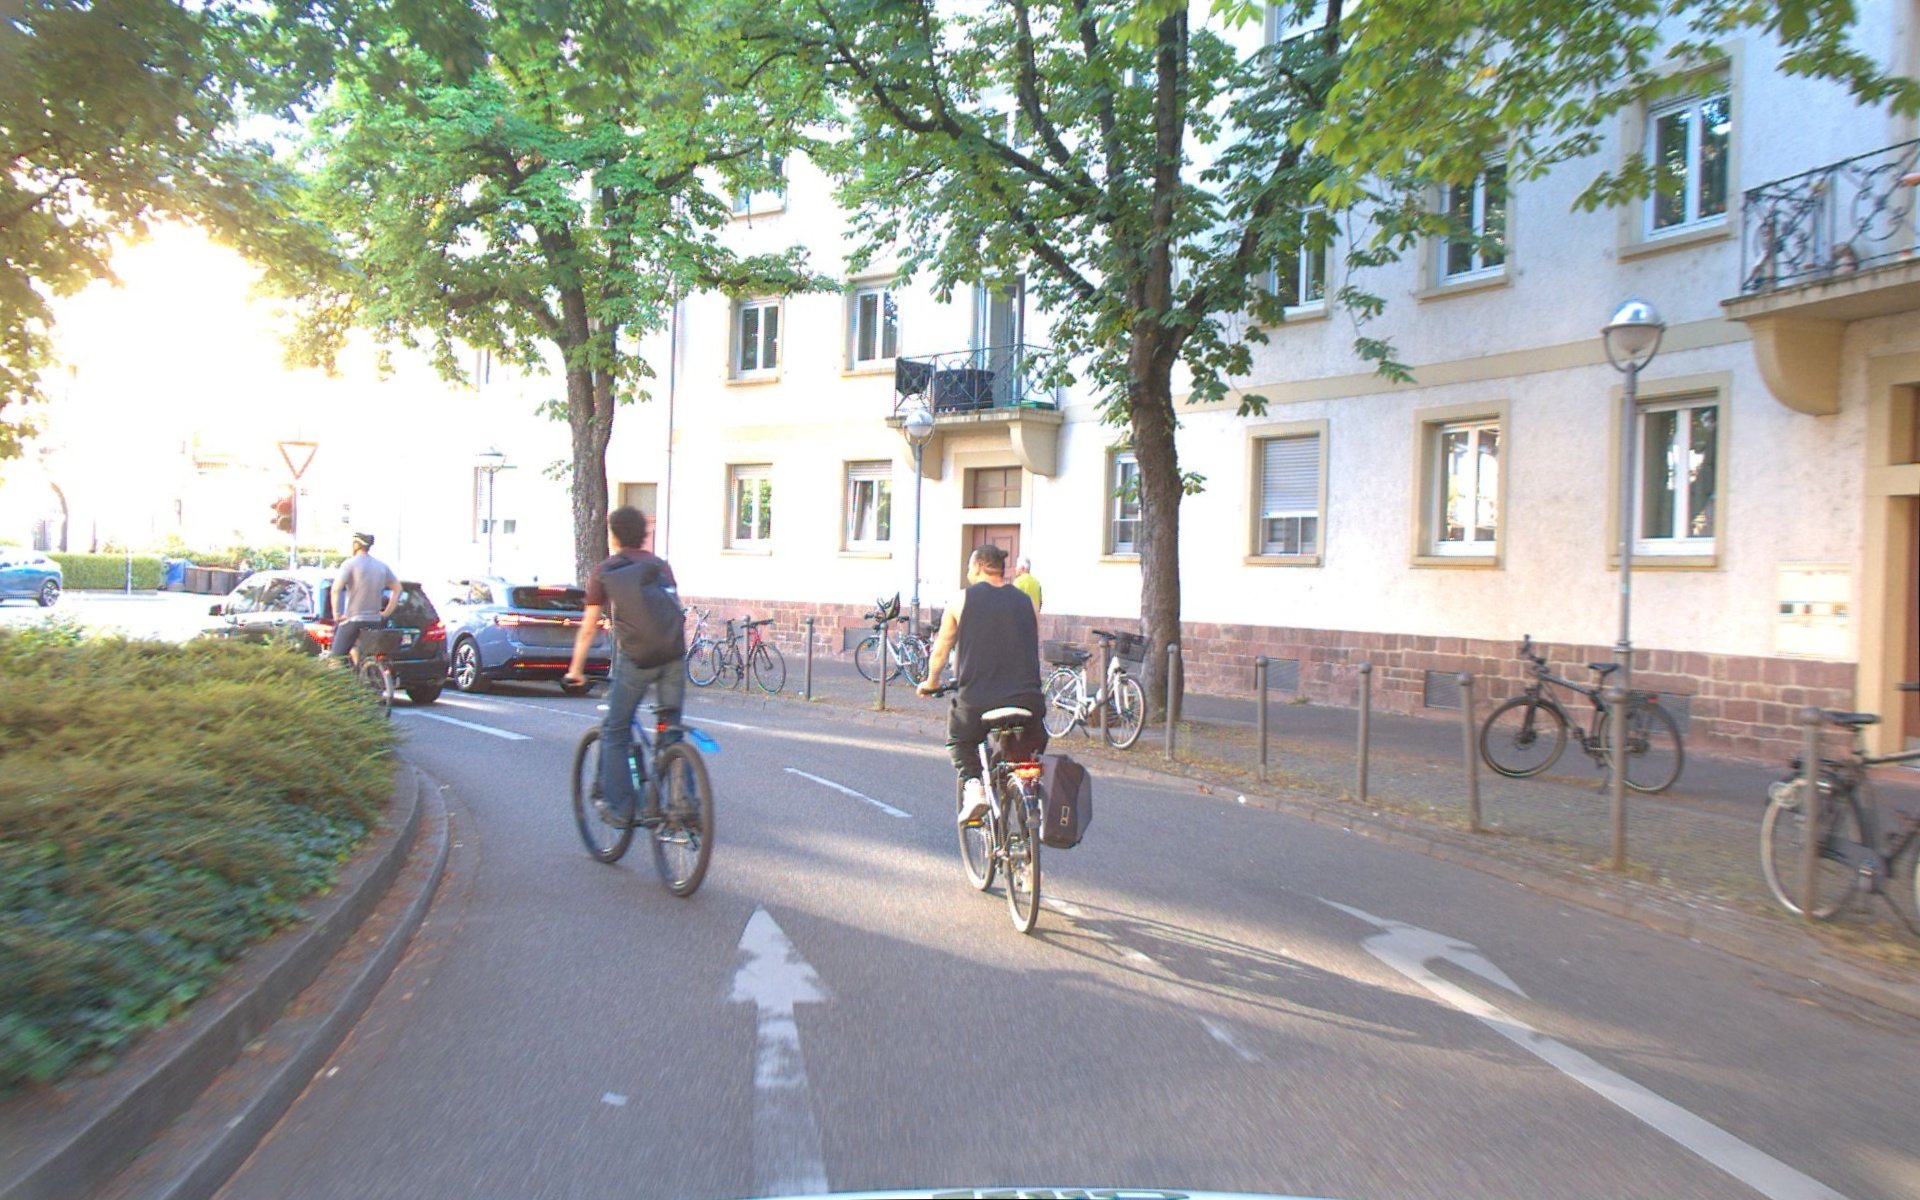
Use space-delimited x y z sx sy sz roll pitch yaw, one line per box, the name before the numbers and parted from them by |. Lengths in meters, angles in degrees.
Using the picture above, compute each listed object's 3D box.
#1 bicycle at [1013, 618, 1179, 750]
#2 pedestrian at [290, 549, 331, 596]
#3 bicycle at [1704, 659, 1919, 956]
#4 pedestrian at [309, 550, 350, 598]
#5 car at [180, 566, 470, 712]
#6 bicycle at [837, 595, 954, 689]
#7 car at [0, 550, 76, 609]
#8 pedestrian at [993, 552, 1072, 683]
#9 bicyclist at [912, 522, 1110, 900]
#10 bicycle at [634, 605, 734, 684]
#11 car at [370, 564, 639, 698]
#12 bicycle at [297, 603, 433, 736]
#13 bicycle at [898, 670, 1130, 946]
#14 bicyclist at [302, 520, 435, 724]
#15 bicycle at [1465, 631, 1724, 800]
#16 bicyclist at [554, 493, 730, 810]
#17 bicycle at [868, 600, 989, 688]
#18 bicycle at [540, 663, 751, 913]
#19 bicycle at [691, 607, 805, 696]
bicycle | 1.316 0.793 16.426 0.610 1.132 1.971 -2 3 -31
pedestrian | -28.202 -1.189 71.880 1.134 1.996 1.388 2 0 2
bicycle | 4.278 0.901 7.438 0.667 1.179 1.996 1 0 -11
pedestrian | -27.230 -1.127 71.488 1.134 1.996 1.388 2 0 2
car | -7.710 0.378 19.933 3.891 1.570 1.807 1 2 44
bicycle | -0.931 0.562 23.199 0.491 1.192 2.088 -3 3 -38
car | -27.066 -0.590 46.250 1.951 1.522 4.379 2 2 7
pedestrian | 1.039 0.231 23.559 0.647 1.826 0.993 2 1 38
bicyclist | 0.225 0.504 7.988 0.738 1.711 0.911 2 0 -10
bicycle | -3.946 0.608 23.513 0.515 1.016 2.165 2 1 -34
car | -6.294 0.367 22.638 1.883 1.605 3.936 2 1 -44
bicycle | -5.925 0.657 16.401 0.594 1.182 2.012 2 0 -40
bicycle | 0.195 0.924 8.058 0.724 1.029 2.056 0 1 -10
bicyclist | -5.861 0.195 16.371 0.846 1.931 1.122 1 1 -42
bicycle | 4.950 0.860 12.998 0.667 1.203 1.795 -1 0 -40
bicyclist | -1.684 0.250 8.658 0.663 1.541 1.061 1 0 -24
bicycle | -0.471 0.599 23.571 0.578 1.133 2.089 1 1 -38
bicycle | -1.698 0.903 8.663 0.665 1.072 2.047 1 0 -23
bicycle | -2.884 0.676 22.348 0.612 1.076 1.901 -1 2 -40
